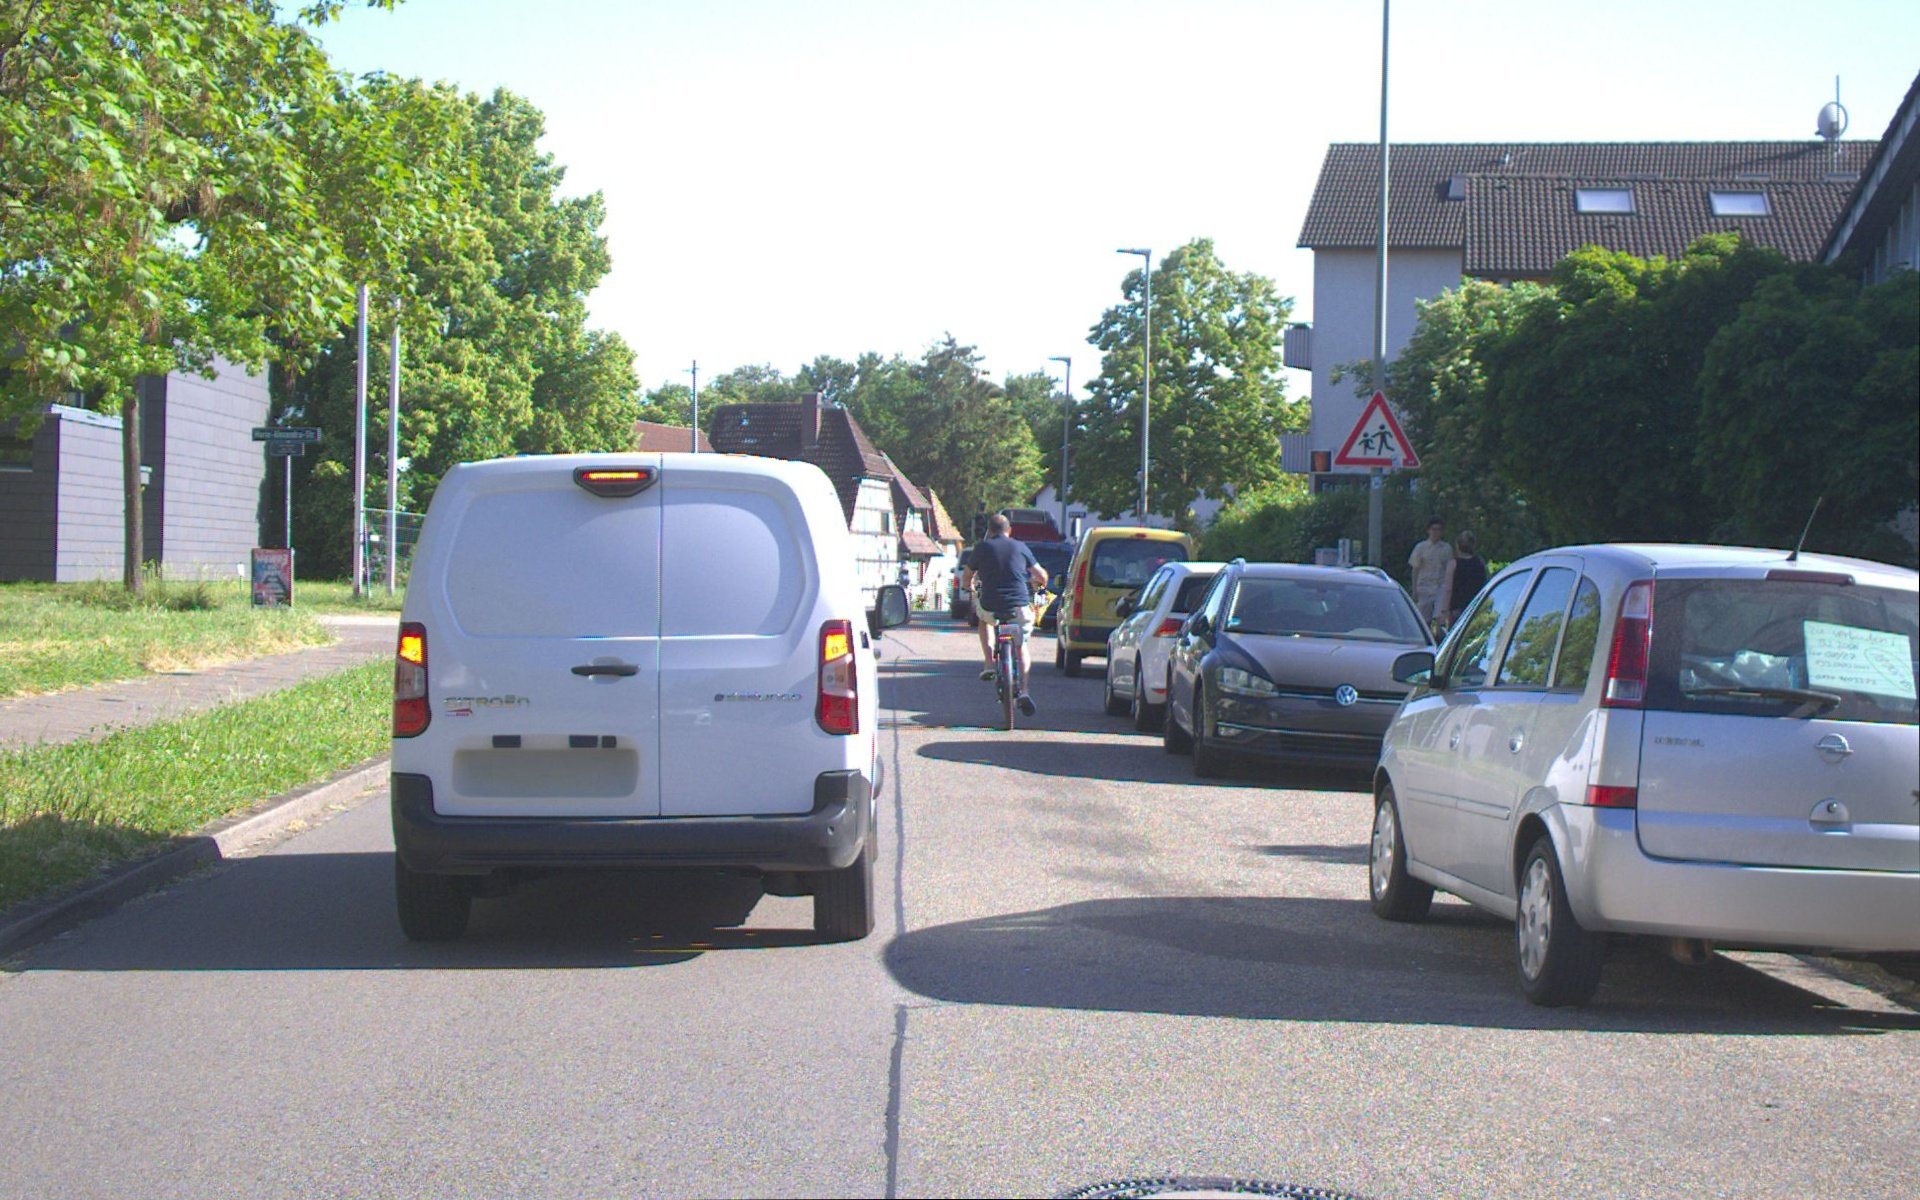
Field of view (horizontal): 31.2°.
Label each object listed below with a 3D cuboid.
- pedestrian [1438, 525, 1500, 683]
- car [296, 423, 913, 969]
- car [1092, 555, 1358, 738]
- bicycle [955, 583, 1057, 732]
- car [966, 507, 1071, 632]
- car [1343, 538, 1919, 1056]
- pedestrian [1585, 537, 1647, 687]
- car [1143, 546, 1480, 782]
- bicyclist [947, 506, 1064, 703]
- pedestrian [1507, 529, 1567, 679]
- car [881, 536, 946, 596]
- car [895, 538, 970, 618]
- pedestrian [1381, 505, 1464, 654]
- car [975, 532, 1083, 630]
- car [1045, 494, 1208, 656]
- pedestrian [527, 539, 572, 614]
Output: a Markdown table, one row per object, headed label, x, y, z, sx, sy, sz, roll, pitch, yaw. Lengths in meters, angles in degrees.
| label | x | y | z | sx | sy | sz | roll | pitch | yaw |
| --- | --- | --- | --- | --- | --- | --- | --- | --- | --- |
| pedestrian | 5.324 | 0.036 | 35.981 | 0.567 | 1.631 | 0.546 | 1 | 1 | 4 |
| car | -1.285 | 0.293 | 14.242 | 1.993 | 1.875 | 4.289 | 1 | 1 | 1 |
| car | 2.258 | 0.362 | 30.278 | 1.826 | 1.447 | 4.000 | 2 | 1 | -3 |
| bicycle | 0.365 | 0.452 | 28.491 | 0.787 | 1.134 | 2.280 | 1 | 1 | 0 |
| car | 1.248 | -0.640 | 75.601 | 1.866 | 2.553 | 4.768 | 3 | 0 | -2 |
| car | 2.676 | 0.640 | 13.147 | 1.679 | 1.594 | 4.029 | 4 | 0 | -3 |
| pedestrian | 7.233 | 0.129 | 37.932 | 0.567 | 1.631 | 0.546 | 1 | 1 | 4 |
| car | 2.355 | 0.373 | 24.071 | 1.807 | 1.438 | 4.364 | 2 | 1 | -1 |
| bicyclist | 0.368 | 0.034 | 28.504 | 0.905 | 1.579 | 0.966 | 2 | 0 | 0 |
| pedestrian | 6.407 | 0.039 | 38.175 | 0.567 | 1.631 | 0.546 | 1 | 1 | 4 |
| car | -1.504 | -1.099 | 112.957 | 1.804 | 1.836 | 3.999 | 3 | 0 | 3 |
| car | -0.792 | -0.592 | 94.753 | 1.804 | 2.061 | 4.000 | 3 | 0 | -2 |
| pedestrian | 5.894 | -0.268 | 43.841 | 0.793 | 1.855 | 0.874 | 2 | 1 | -8 |
| car | 1.344 | -0.368 | 68.454 | 1.804 | 1.779 | 4.000 | 3 | 0 | -2 |
| car | 1.984 | -0.308 | 41.917 | 1.724 | 1.831 | 4.000 | 2 | 1 | 0 |
| pedestrian | -8.205 | -0.468 | 68.720 | 0.510 | 1.441 | 0.638 | 5 | 1 | 32 |
